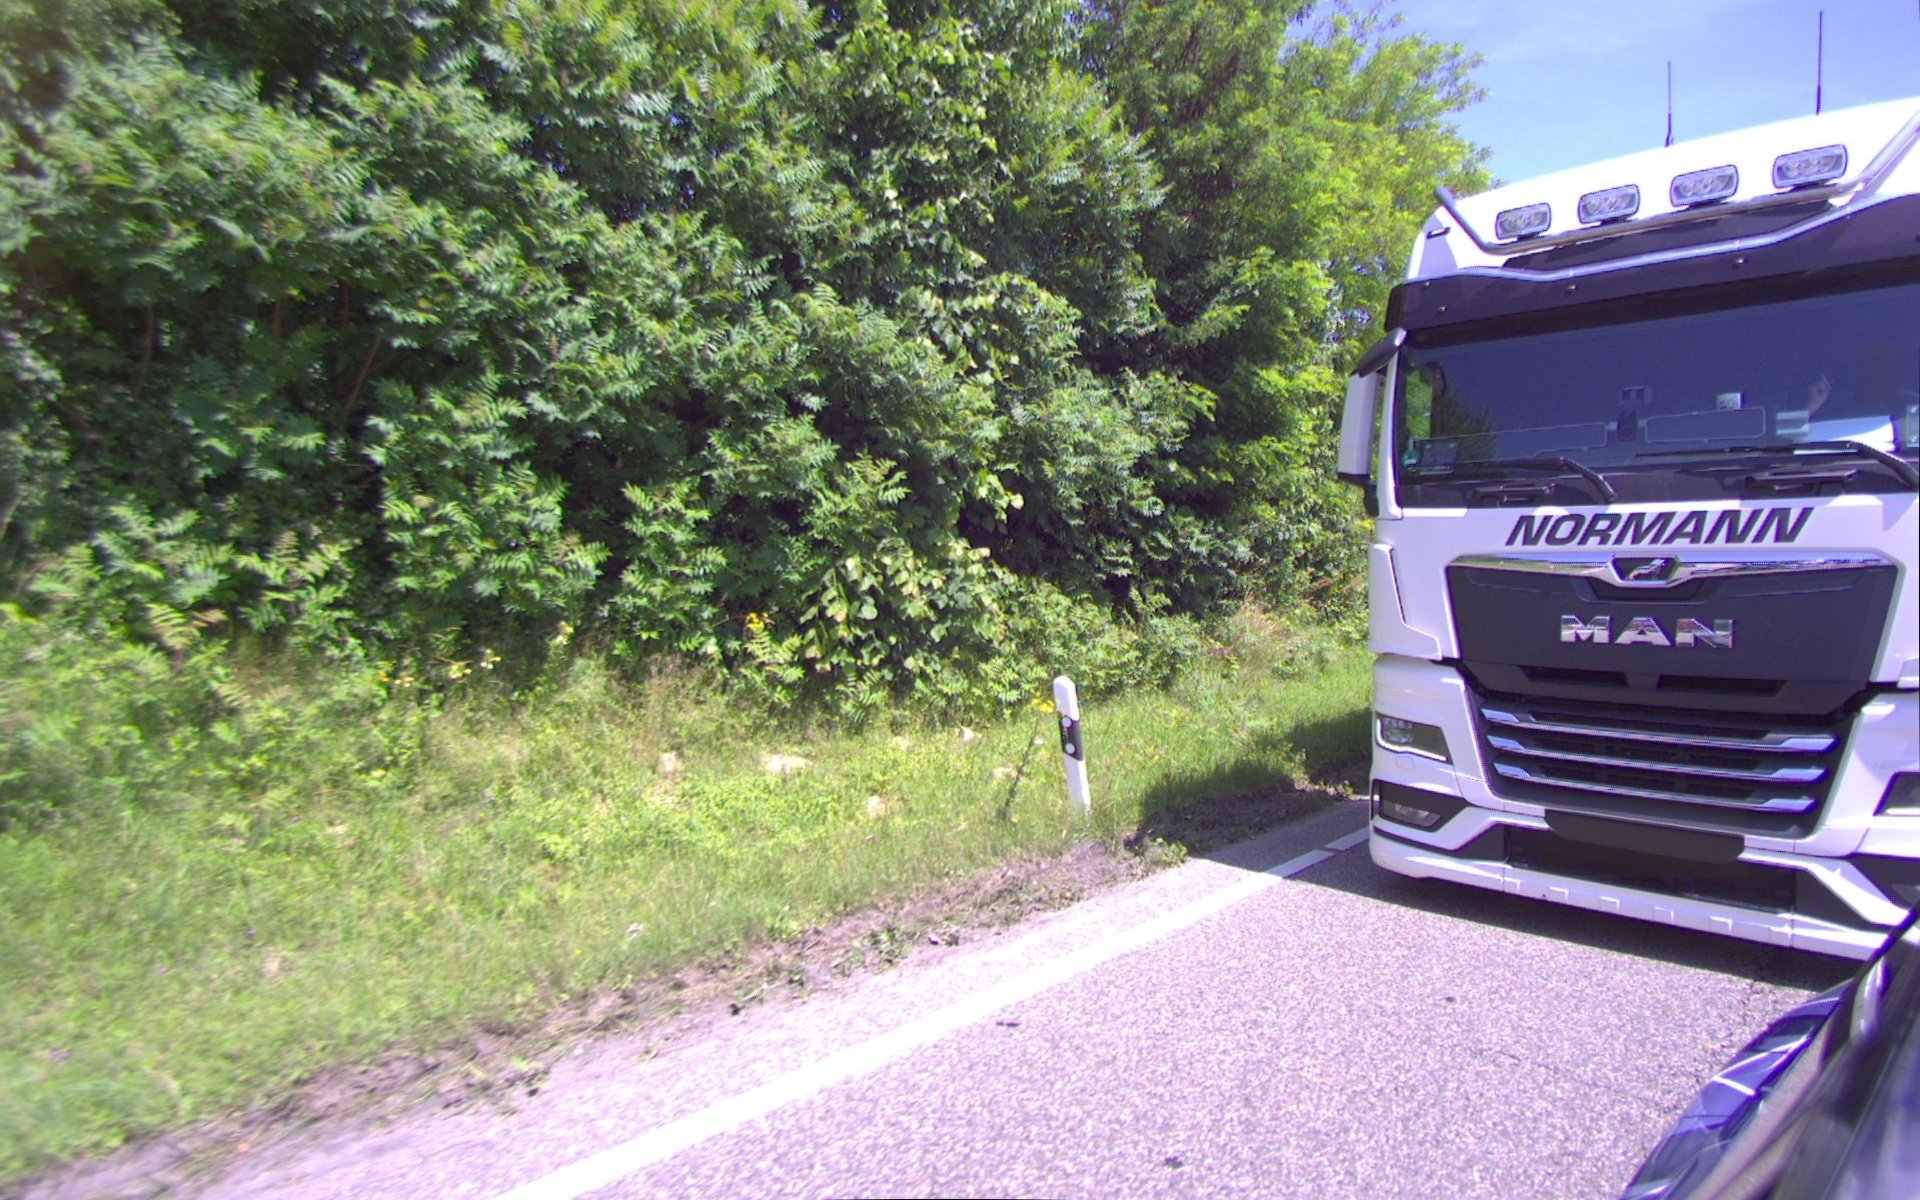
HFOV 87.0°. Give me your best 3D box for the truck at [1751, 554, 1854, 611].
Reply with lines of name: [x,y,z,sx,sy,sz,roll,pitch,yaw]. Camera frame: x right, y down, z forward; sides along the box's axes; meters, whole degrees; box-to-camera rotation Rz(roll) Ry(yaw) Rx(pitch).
truck: [65.673,-1.423,79.372,2.829,3.936,16.834,3,2,29]

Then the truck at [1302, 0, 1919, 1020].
truck: [8.318,-0.741,10.779,2.968,4.145,17.385,0,1,39]
